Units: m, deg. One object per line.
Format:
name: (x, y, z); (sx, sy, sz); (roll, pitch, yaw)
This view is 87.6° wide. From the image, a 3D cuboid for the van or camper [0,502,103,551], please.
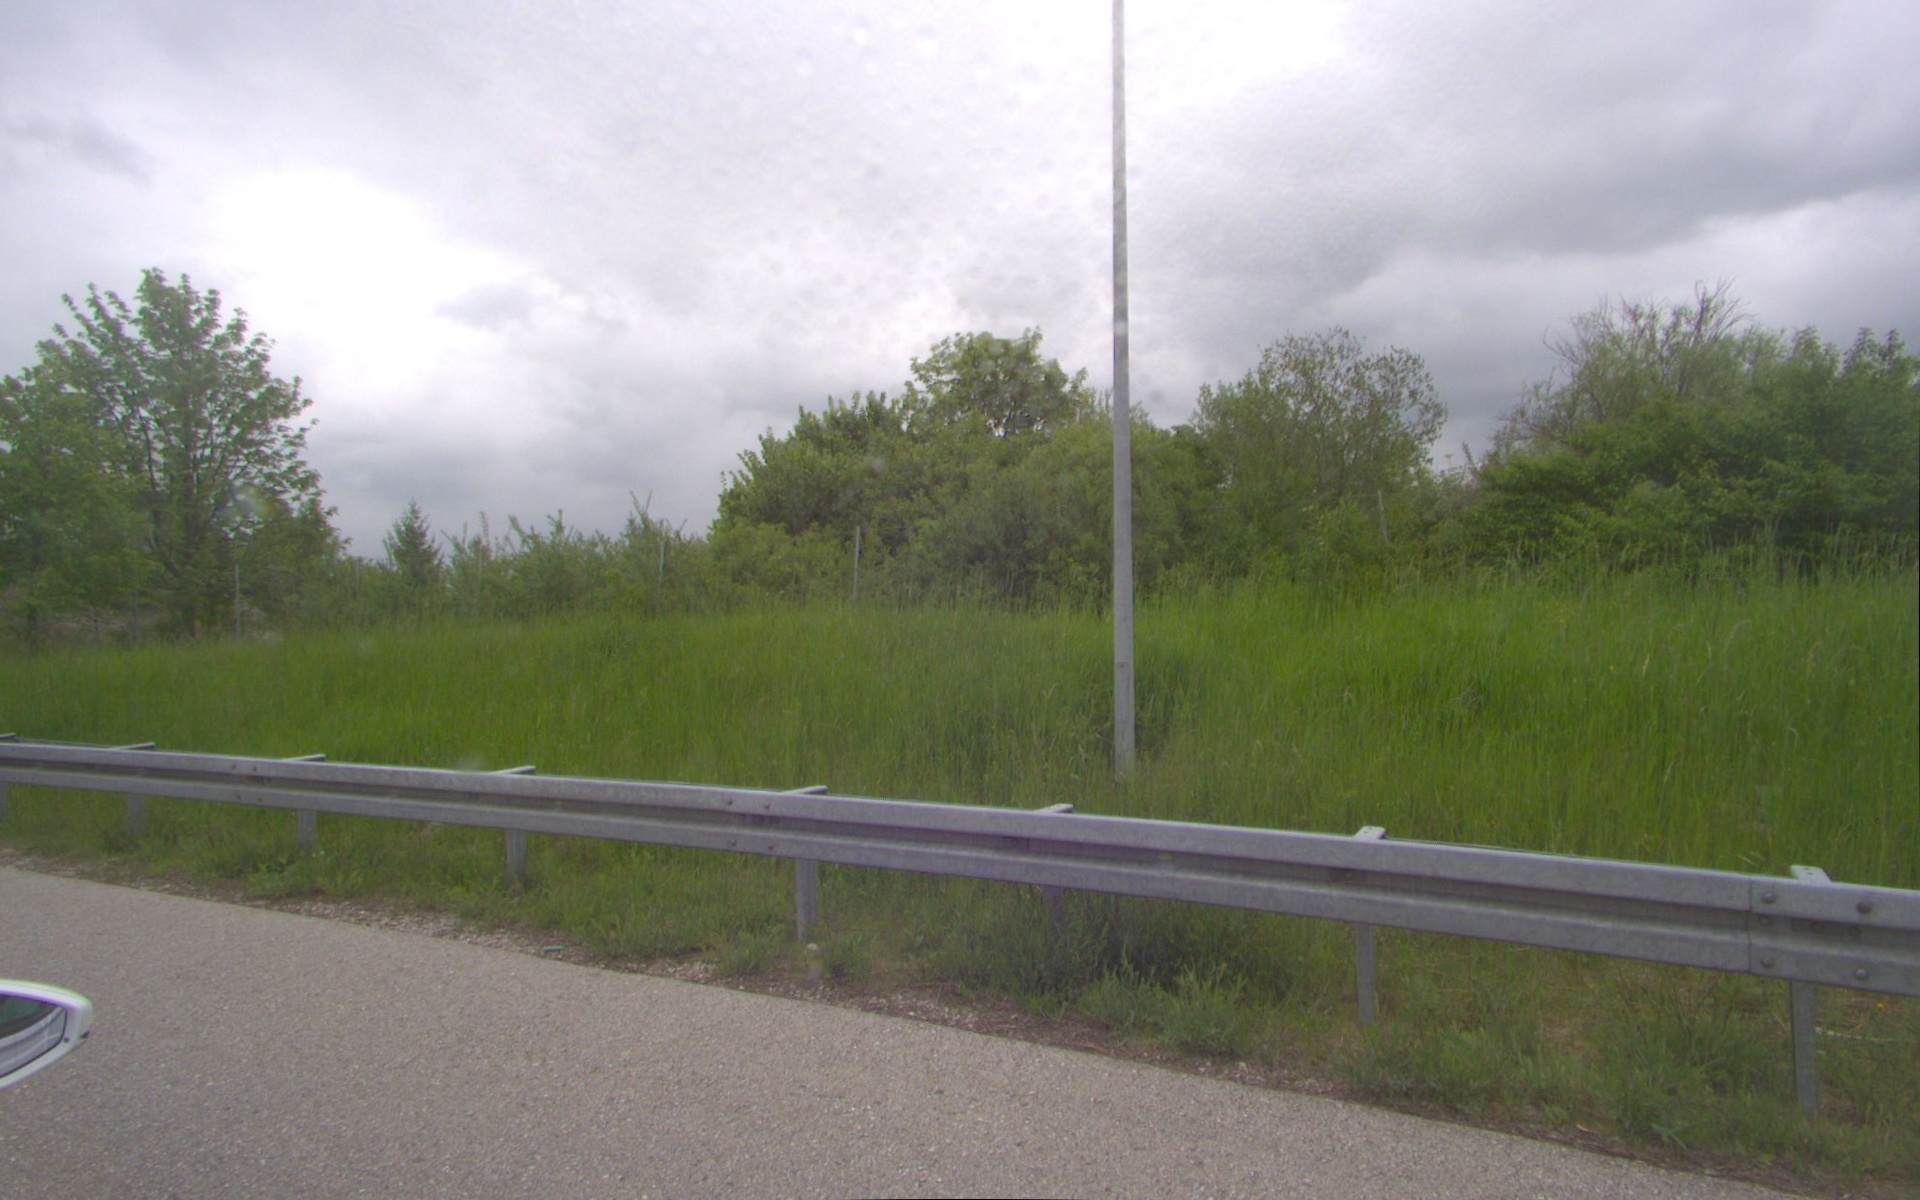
van or camper: (-44.351, -3.477, 48.242); (1.860, 1.792, 5.454); (0, -2, -6)
